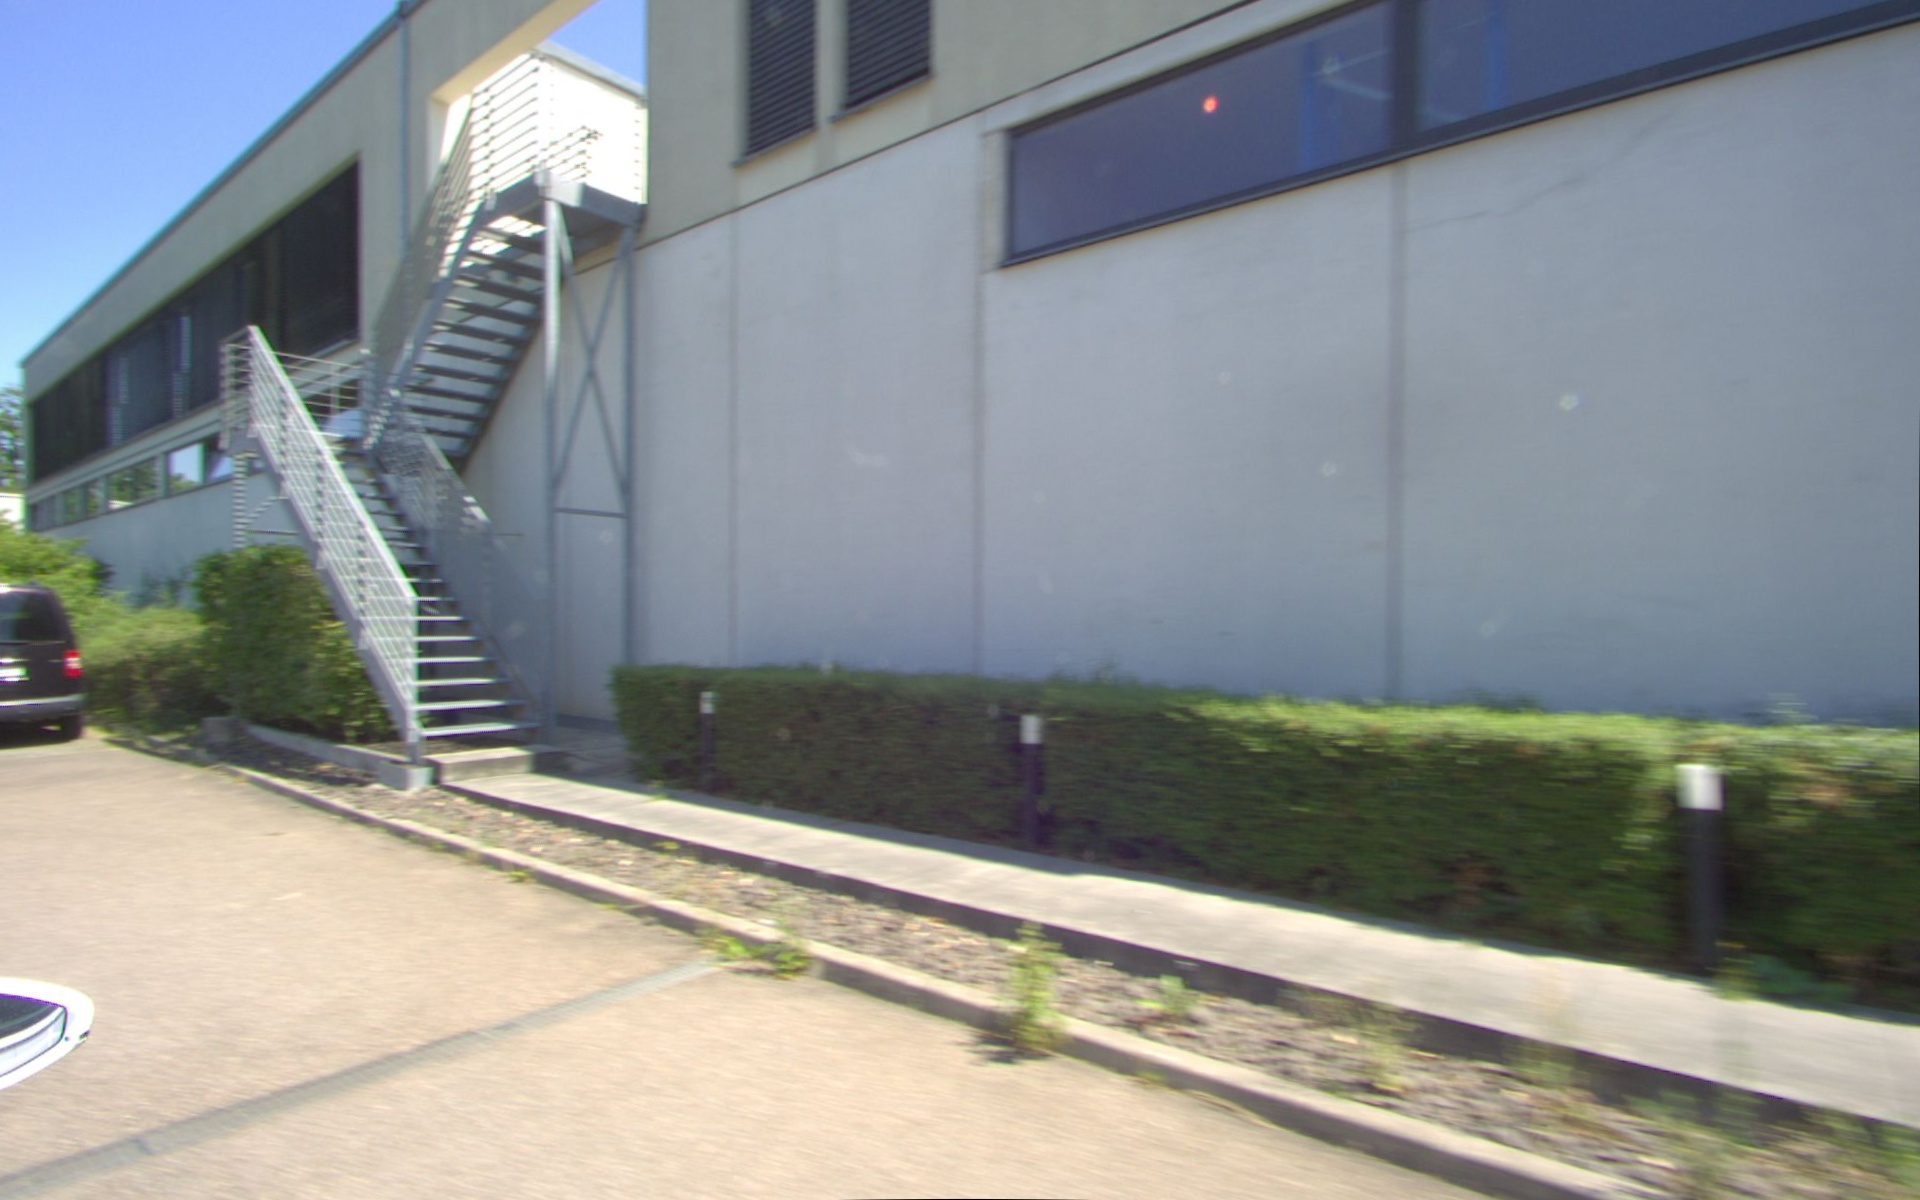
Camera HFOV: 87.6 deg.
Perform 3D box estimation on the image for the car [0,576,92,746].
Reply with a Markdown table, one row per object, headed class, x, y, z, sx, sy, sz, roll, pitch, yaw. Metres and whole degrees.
| class | x | y | z | sx | sy | sz | roll | pitch | yaw |
| --- | --- | --- | --- | --- | --- | --- | --- | --- | --- |
| car | -12.151 | 0.688 | 12.176 | 3.951 | 1.861 | 1.736 | 0 | 0 | 39 |
